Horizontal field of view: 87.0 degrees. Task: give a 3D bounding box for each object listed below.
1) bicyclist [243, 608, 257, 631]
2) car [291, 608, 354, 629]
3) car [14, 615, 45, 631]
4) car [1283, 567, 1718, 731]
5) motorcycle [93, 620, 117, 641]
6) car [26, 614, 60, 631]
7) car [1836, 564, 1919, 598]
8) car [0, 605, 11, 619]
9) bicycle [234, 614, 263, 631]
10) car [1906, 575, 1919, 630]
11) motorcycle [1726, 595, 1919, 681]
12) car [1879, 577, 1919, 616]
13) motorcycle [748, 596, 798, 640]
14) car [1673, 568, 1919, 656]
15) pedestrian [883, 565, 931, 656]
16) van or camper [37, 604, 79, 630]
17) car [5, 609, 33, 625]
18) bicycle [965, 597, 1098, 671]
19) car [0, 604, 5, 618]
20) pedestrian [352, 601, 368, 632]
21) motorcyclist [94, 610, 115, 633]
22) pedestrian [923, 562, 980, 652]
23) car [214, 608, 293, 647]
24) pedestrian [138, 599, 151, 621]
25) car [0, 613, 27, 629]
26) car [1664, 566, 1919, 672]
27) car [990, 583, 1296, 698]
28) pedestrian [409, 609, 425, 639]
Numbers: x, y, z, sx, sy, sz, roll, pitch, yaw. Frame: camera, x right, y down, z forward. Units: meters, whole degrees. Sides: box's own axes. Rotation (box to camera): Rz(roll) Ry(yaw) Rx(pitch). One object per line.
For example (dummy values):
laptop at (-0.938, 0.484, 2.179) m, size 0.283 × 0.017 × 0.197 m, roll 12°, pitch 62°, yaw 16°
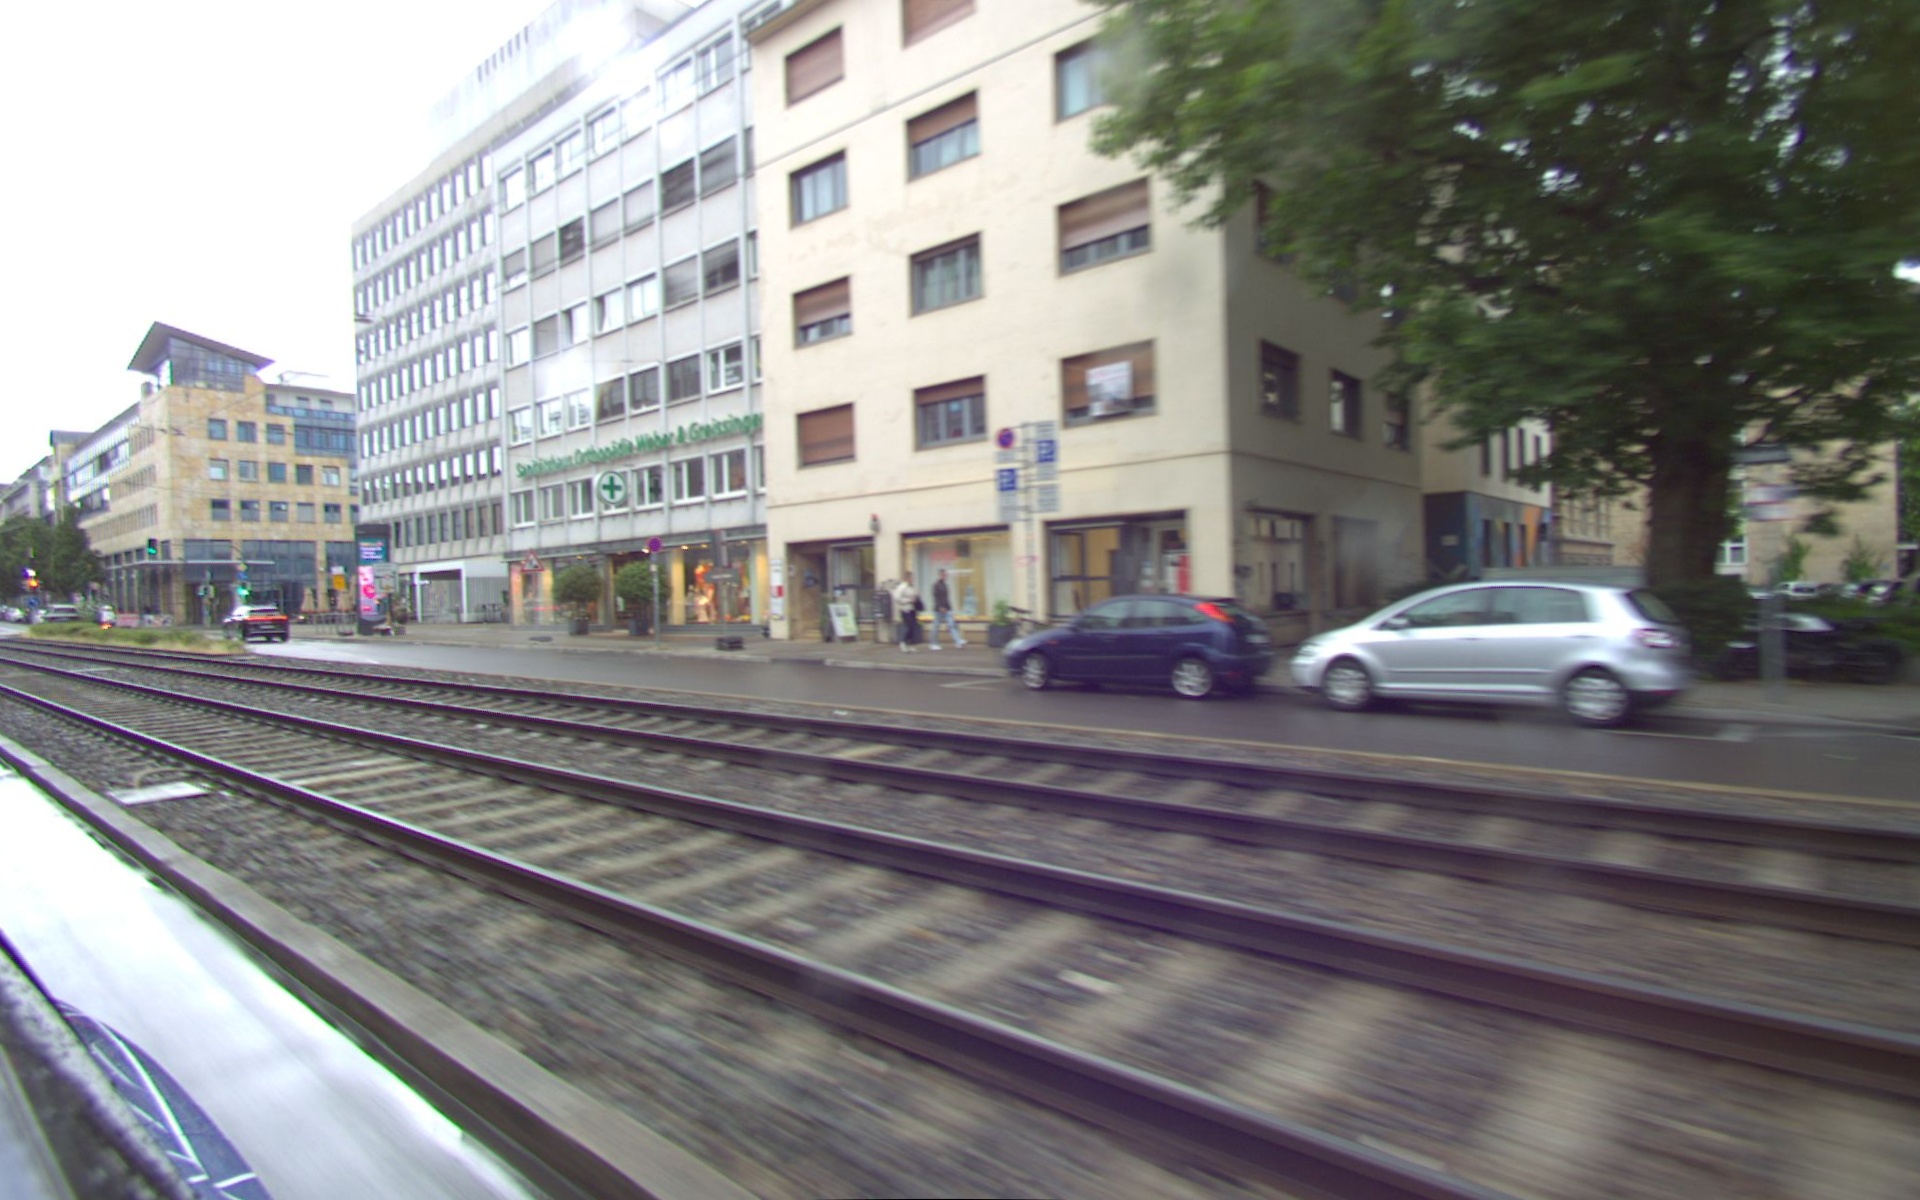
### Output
bicyclist at (-57.413, 1.549, 81.863) m, size 0.783 × 1.818 × 0.701 m, roll -1°, pitch 1°, yaw 41°
car at (-51.912, 1.506, 82.493) m, size 1.890 × 1.541 × 3.945 m, roll -1°, pitch 1°, yaw 42°
car at (-90.437, 2.247, 98.335) m, size 3.996 × 1.497 × 1.672 m, roll -1°, pitch 1°, yaw 40°
car at (6.170, 0.474, 11.855) m, size 4.217 × 1.582 × 1.704 m, roll -1°, pitch 1°, yaw 41°
motorcycle at (-46.703, 1.668, 55.288) m, size 1.931 × 1.067 × 0.734 m, roll 0°, pitch 2°, yaw 43°
car at (-82.893, 2.034, 91.431) m, size 4.252 × 1.497 × 1.672 m, roll -1°, pitch 1°, yaw 40°
car at (41.151, -0.824, 44.593) m, size 1.745 × 1.375 × 3.641 m, roll -1°, pitch 0°, yaw -4°
car at (-107.537, 1.332, 113.239) m, size 4.620 × 1.552 × 1.632 m, roll 0°, pitch 1°, yaw 42°
bicycle at (-57.566, 1.798, 81.894) m, size 0.659 × 1.321 × 1.746 m, roll -2°, pitch 0°, yaw 40°
car at (26.075, 0.011, 26.421) m, size 1.793 × 1.375 × 3.946 m, roll -1°, pitch 0°, yaw 40°
motorcycle at (11.411, 0.477, 13.301) m, size 2.118 × 1.040 × 0.633 m, roll -1°, pitch 1°, yaw 40°
car at (35.058, -0.165, 37.139) m, size 1.793 × 1.375 × 3.946 m, roll -1°, pitch 0°, yaw 40°
motorcycle at (-5.340, 0.501, 28.971) m, size 0.385 × 1.188 × 1.462 m, roll -1°, pitch 1°, yaw 39°
car at (14.759, 0.193, 17.329) m, size 3.997 × 1.375 × 1.973 m, roll -1°, pitch 0°, yaw 40°
pedestrian at (-1.134, 0.211, 21.797) m, size 0.742 × 1.910 × 0.671 m, roll 0°, pitch 1°, yaw 41°
van or camper at (-76.872, 1.401, 86.212) m, size 5.195 × 2.012 × 1.996 m, roll 1°, pitch 2°, yaw 41°
car at (-94.241, 1.716, 101.370) m, size 4.191 × 1.509 × 1.632 m, roll 0°, pitch 1°, yaw 42°
bicycle at (1.251, 0.583, 18.168) m, size 2.397 × 1.236 × 0.586 m, roll 0°, pitch 1°, yaw 34°
car at (-111.671, 1.288, 116.864) m, size 4.620 × 1.552 × 1.632 m, roll 0°, pitch 1°, yaw 42°
pedestrian at (-36.613, 0.991, 61.756) m, size 0.843 × 1.836 × 0.559 m, roll -1°, pitch 1°, yaw 37°
motorcyclist at (-46.721, 1.157, 55.283) m, size 0.970 × 1.226 × 0.734 m, roll 0°, pitch 1°, yaw 43°
pedestrian at (-0.191, 0.137, 22.138) m, size 0.982 × 1.910 × 0.720 m, roll 0°, pitch 1°, yaw 41°
car at (-30.867, 1.165, 44.179) m, size 4.445 × 1.530 × 1.971 m, roll -1°, pitch 1°, yaw 44°
pedestrian at (-68.144, 0.807, 84.559) m, size 0.679 × 1.828 × 0.693 m, roll -1°, pitch 1°, yaw 43°
car at (-98.186, 2.141, 104.964) m, size 4.291 × 1.509 × 1.632 m, roll 0°, pitch 1°, yaw 42°
car at (13.168, 0.272, 15.276) m, size 3.997 × 1.465 × 1.973 m, roll -1°, pitch 0°, yaw 40°
car at (2.614, 0.547, 15.100) m, size 4.217 × 1.480 × 1.726 m, roll -1°, pitch 0°, yaw 41°
pedestrian at (-34.480, 1.548, 64.254) m, size 0.843 × 1.760 × 0.559 m, roll 10°, pitch 8°, yaw 36°
